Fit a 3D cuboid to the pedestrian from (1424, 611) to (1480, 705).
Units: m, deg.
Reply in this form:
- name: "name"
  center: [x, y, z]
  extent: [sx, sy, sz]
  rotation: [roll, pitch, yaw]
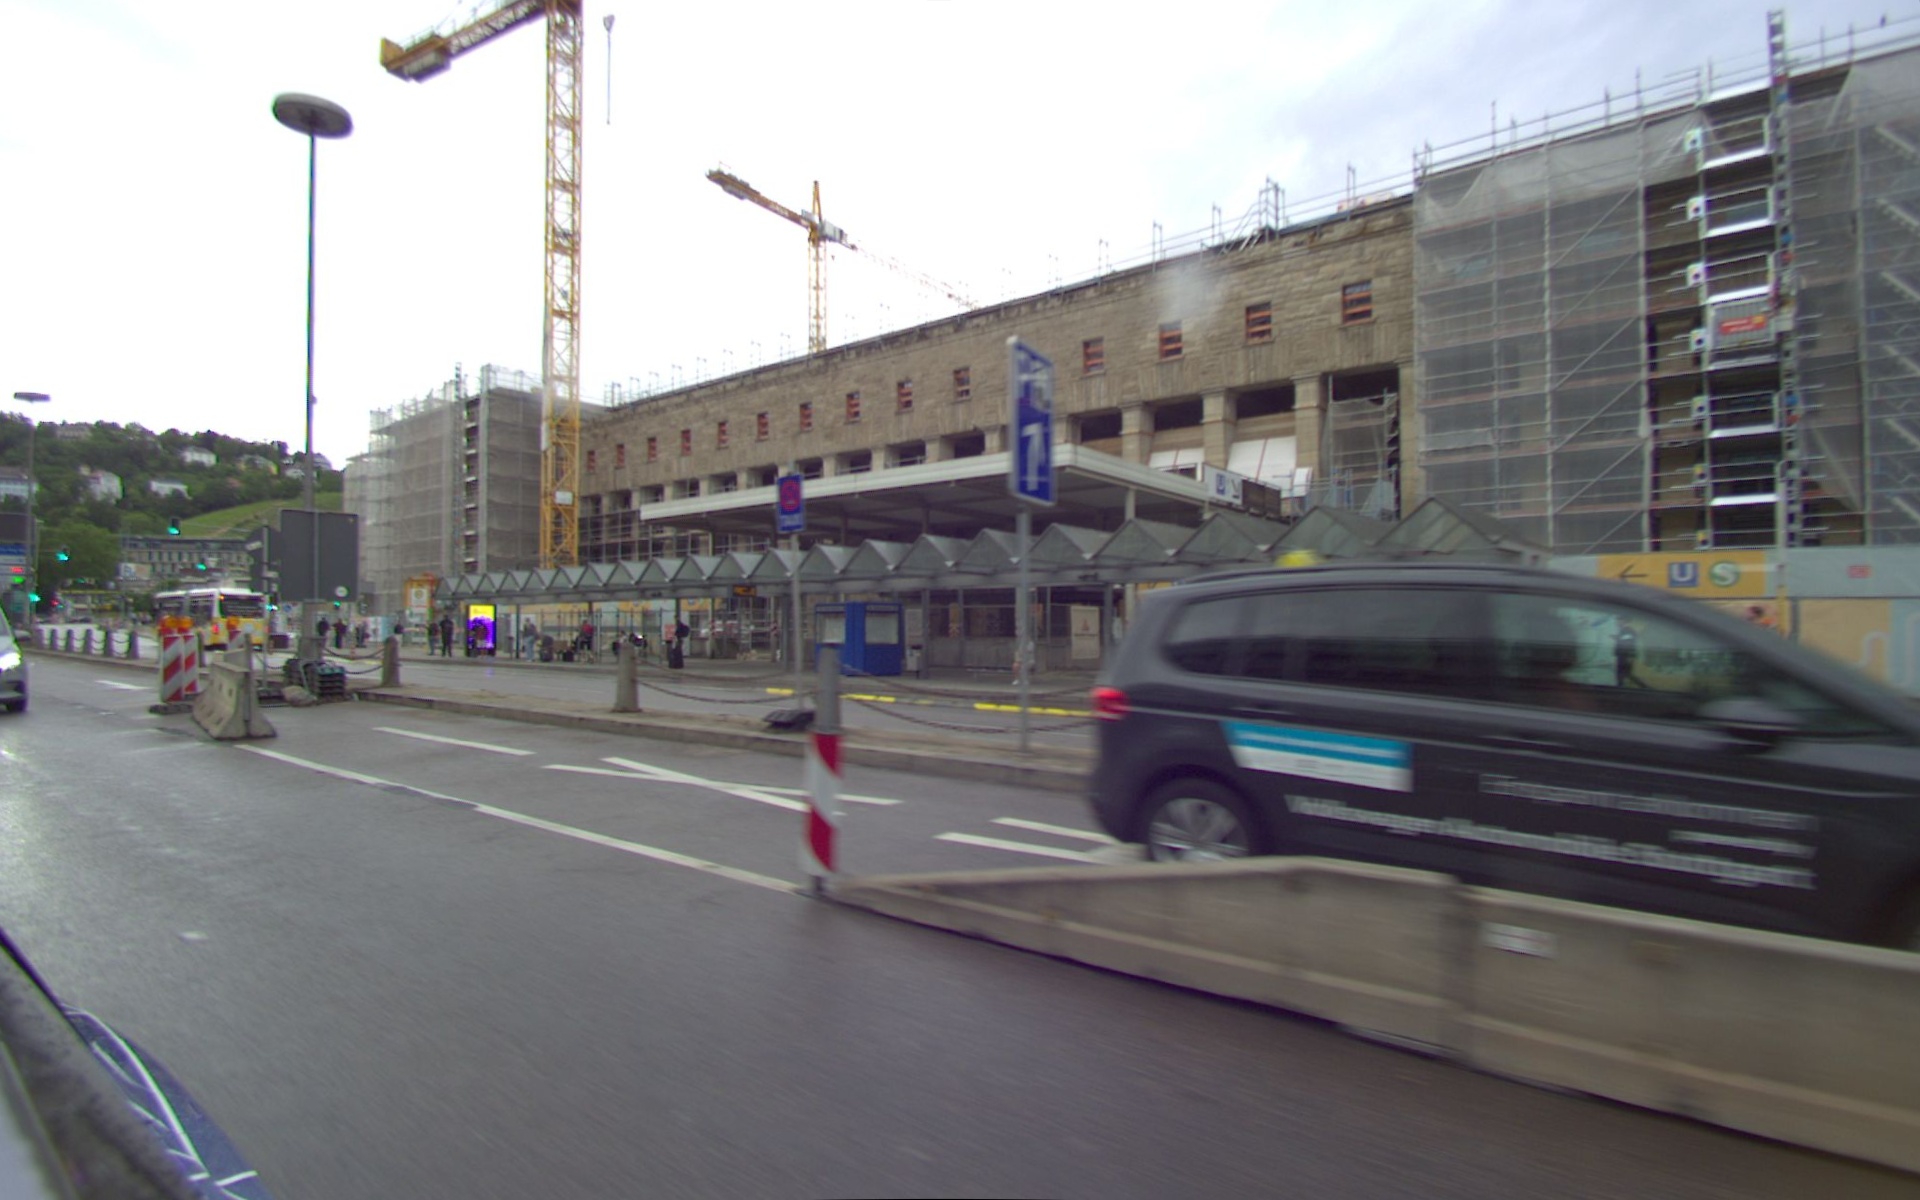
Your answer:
- name: "pedestrian"
  center: [9.990, 1.159, 20.548]
  extent: [0.734, 1.855, 0.704]
  rotation: [0, -2, -30]

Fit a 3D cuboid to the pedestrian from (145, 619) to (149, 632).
- name: "pedestrian"
  center: [-105.135, 3.308, 130.839]
  extent: [0.357, 1.628, 0.370]
  rotation: [-2, -2, 41]

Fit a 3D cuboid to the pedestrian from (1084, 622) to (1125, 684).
- name: "pedestrian"
  center: [4.098, 1.497, 28.687]
  extent: [0.836, 1.713, 0.869]
  rotation: [-2, -2, 38]

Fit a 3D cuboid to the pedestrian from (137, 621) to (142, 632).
- name: "pedestrian"
  center: [-115.501, 3.708, 142.453]
  extent: [0.431, 1.512, 0.414]
  rotation: [1, -2, -35]

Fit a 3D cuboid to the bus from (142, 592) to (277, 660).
- name: "bus"
  center: [-45.449, 1.574, 60.799]
  extent: [19.075, 3.605, 2.878]
  rotation: [-1, -3, 43]

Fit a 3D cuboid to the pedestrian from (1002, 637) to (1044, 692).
- name: "pedestrian"
  center: [1.589, 1.613, 25.522]
  extent: [0.804, 1.336, 0.692]
  rotation: [-2, -2, 39]

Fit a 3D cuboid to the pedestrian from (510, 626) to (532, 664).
- name: "pedestrian"
  center: [-19.414, 1.989, 44.754]
  extent: [0.802, 1.643, 0.551]
  rotation: [-1, -2, 32]

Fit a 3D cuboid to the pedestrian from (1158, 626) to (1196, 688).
- name: "pedestrian"
  center: [5.809, 1.517, 27.121]
  extent: [0.701, 1.620, 0.795]
  rotation: [-2, -2, 38]

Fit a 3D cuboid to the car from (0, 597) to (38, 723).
- name: "car"
  center: [-17.105, 0.970, 16.695]
  extent: [5.243, 1.919, 1.974]
  rotation: [-1, 0, 38]

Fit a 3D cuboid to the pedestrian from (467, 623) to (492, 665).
- name: "pedestrian"
  center: [-20.697, 1.878, 43.598]
  extent: [0.746, 1.804, 0.718]
  rotation: [-1, -2, 34]

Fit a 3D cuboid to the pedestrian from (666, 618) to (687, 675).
- name: "pedestrian"
  center: [-9.509, 1.549, 33.910]
  extent: [0.549, 1.862, 0.678]
  rotation: [0, -2, -5]

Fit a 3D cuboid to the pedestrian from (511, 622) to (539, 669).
- name: "pedestrian"
  center: [-16.743, 1.737, 38.965]
  extent: [0.766, 1.804, 0.861]
  rotation: [1, -2, -43]

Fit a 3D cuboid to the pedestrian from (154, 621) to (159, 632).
- name: "pedestrian"
  center: [-98.978, 3.259, 124.658]
  extent: [0.432, 1.362, 0.414]
  rotation: [1, -2, -40]

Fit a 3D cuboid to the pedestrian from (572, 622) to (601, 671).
- name: "pedestrian"
  center: [-13.775, 1.706, 37.313]
  extent: [0.774, 1.804, 0.670]
  rotation: [-1, -1, 10]

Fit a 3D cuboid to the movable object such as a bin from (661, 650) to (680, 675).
- name: "movable object such as a bin"
  center: [-9.507, 2.052, 33.237]
  extent: [0.504, 0.795, 0.635]
  rotation: [1, -2, -5]

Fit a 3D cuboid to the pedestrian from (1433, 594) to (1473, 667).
- name: "pedestrian"
  center: [11.573, 0.706, 23.756]
  extent: [0.700, 1.683, 0.796]
  rotation: [-1, -2, 35]

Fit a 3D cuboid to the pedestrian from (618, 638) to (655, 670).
- name: "pedestrian"
  center: [-12.073, 2.003, 37.763]
  extent: [1.054, 1.167, 0.940]
  rotation: [-2, -2, 40]

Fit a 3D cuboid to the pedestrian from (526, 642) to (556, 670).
- name: "pedestrian"
  center: [-17.383, 2.321, 41.984]
  extent: [0.925, 1.101, 0.835]
  rotation: [-2, -2, 39]

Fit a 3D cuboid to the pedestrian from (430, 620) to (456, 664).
- name: "pedestrian"
  center: [-23.086, 1.862, 45.234]
  extent: [0.821, 1.973, 0.752]
  rotation: [-1, -1, 37]

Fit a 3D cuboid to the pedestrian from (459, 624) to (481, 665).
- name: "pedestrian"
  center: [-21.722, 1.980, 44.866]
  extent: [0.802, 1.804, 0.551]
  rotation: [-1, -2, 32]

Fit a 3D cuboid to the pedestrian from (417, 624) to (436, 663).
- name: "pedestrian"
  center: [-25.238, 2.043, 47.864]
  extent: [0.690, 1.804, 0.795]
  rotation: [1, -2, -38]

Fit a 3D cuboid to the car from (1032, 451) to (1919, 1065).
- name: "car"
  center: [2.834, 0.521, 4.506]
  extent: [4.830, 1.876, 1.973]
  rotation: [-1, -2, 41]

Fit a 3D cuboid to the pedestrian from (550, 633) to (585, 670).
- name: "pedestrian"
  center: [-15.803, 2.056, 40.741]
  extent: [0.830, 1.443, 1.044]
  rotation: [-2, -2, 39]

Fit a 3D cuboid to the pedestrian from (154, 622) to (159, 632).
- name: "pedestrian"
  center: [-104.326, 3.511, 131.379]
  extent: [0.413, 1.250, 0.432]
  rotation: [-2, -2, 44]
